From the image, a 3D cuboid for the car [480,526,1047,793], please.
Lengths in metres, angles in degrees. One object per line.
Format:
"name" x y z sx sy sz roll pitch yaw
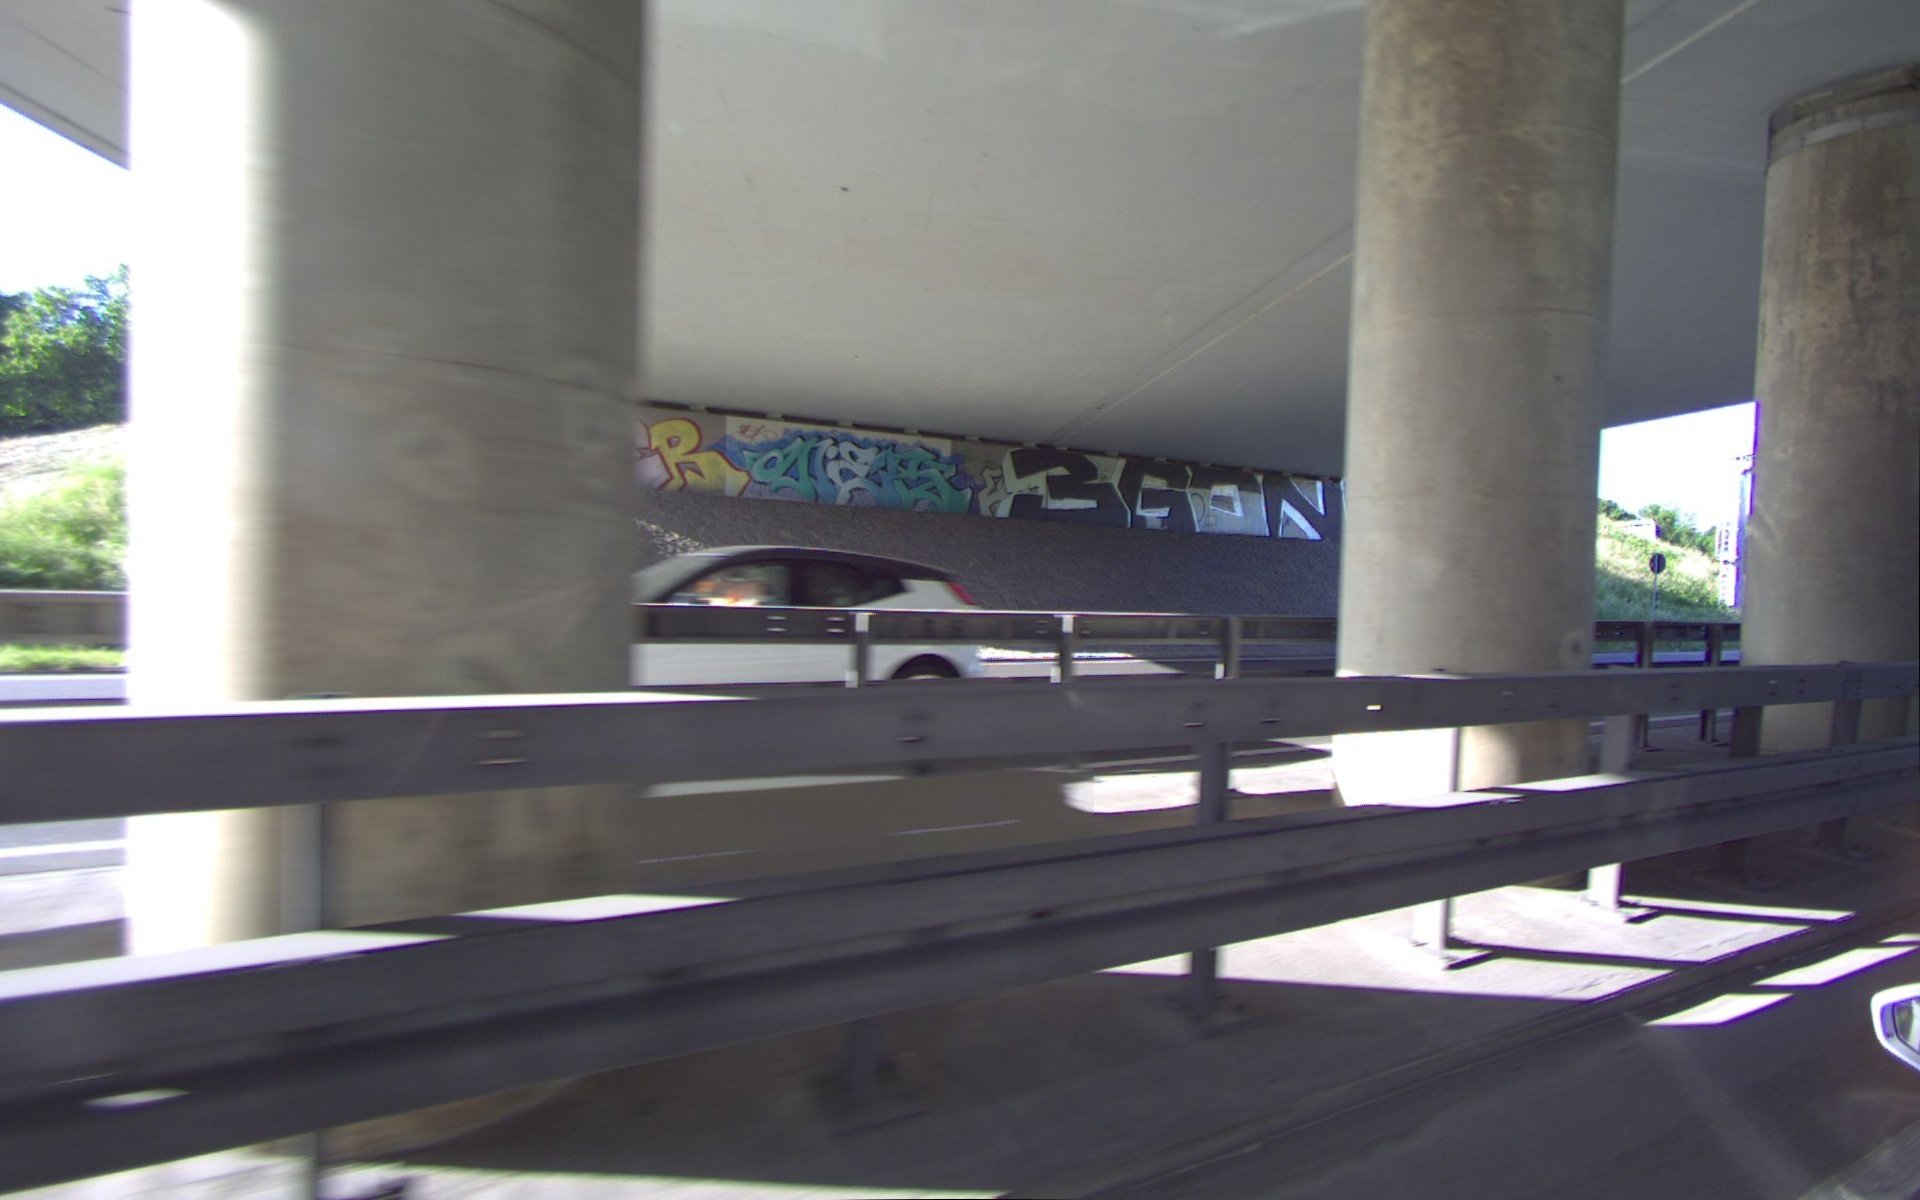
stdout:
"car" -1.439 0.389 7.774 3.955 1.595 1.726 1 0 -32
